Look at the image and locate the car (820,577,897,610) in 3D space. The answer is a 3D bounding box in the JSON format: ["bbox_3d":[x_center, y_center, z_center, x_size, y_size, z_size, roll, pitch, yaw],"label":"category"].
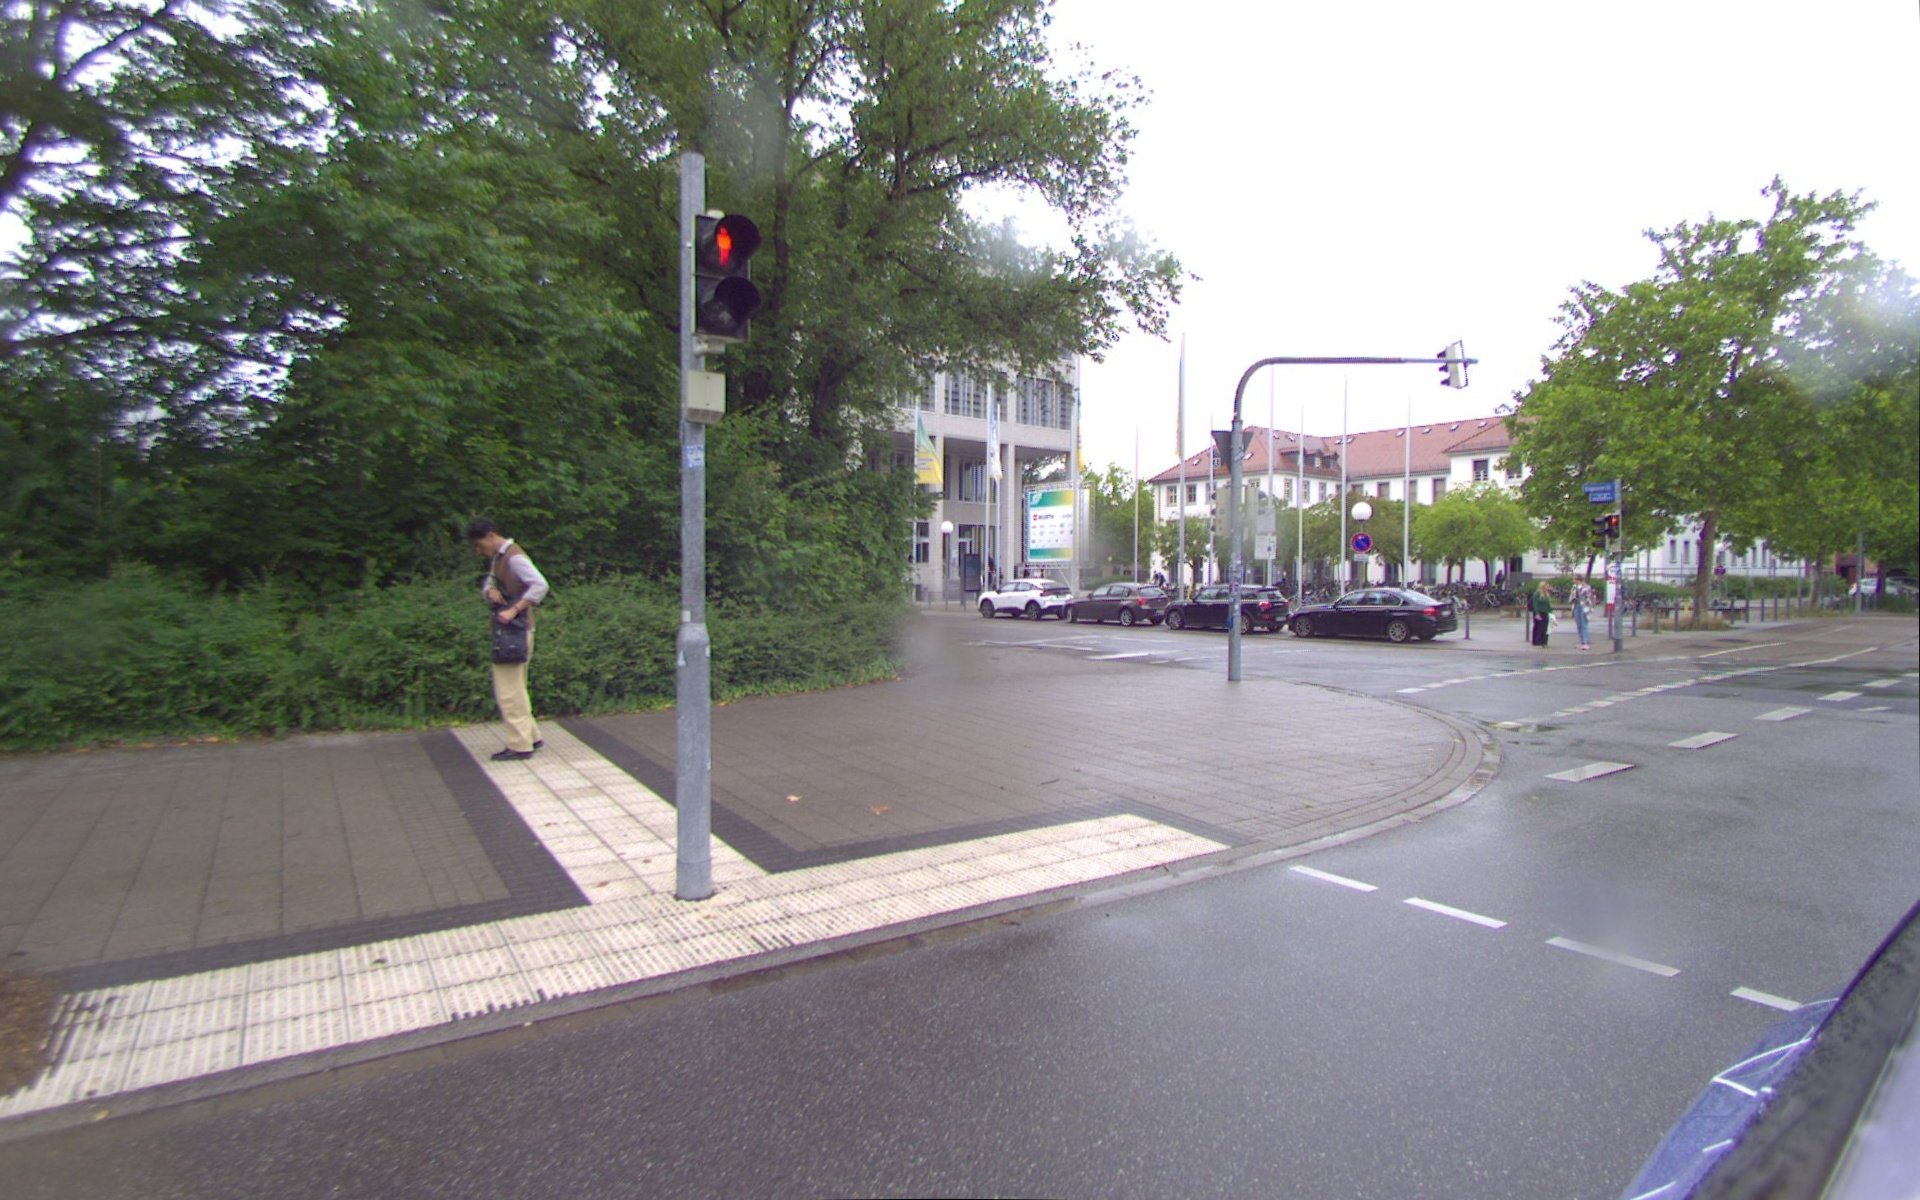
[{"bbox_3d":[-4.918,-0.349,48.460,1.742,1.419,4.097,-4,3,-38],"label":"car"}]

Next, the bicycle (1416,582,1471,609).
[{"bbox_3d":[22.758,-0.214,47.667,2.277,1.237,0.590,1,1,42],"label":"bicycle"}]

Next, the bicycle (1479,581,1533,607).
[{"bbox_3d":[26.793,-0.319,49.694,2.277,1.237,0.590,1,1,42],"label":"bicycle"}]

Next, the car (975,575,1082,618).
[{"bbox_3d":[2.592,-0.170,39.210,1.743,1.536,4.094,-4,3,-41],"label":"car"}]

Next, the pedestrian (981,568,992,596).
[{"bbox_3d":[1.498,-0.997,56.682,0.459,1.534,0.568,0,1,-16],"label":"pedestrian"}]

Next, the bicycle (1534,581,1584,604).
[{"bbox_3d":[32.595,-0.428,55.109,2.277,1.237,0.590,1,1,42],"label":"bicycle"}]

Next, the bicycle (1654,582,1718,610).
[{"bbox_3d":[32.498,-0.204,45.336,2.277,1.237,0.590,1,1,42],"label":"bicycle"}]

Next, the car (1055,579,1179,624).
[{"bbox_3d":[5.453,0.007,35.570,1.742,1.415,4.233,-4,3,-39],"label":"car"}]

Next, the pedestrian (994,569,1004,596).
[{"bbox_3d":[2.239,-1.025,58.148,0.459,1.534,0.568,0,1,-16],"label":"pedestrian"}]

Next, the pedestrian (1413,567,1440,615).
[{"bbox_3d":[17.198,-0.341,37.293,0.839,1.760,1.115,0,1,22],"label":"pedestrian"}]

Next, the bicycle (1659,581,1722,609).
[{"bbox_3d":[33.530,-0.227,46.476,2.277,1.237,0.590,1,1,42],"label":"bicycle"}]

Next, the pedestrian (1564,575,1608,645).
[{"bbox_3d":[14.919,0.214,24.135,0.871,1.627,0.854,1,1,32],"label":"pedestrian"}]

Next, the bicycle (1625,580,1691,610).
[{"bbox_3d":[29.932,-0.219,43.403,2.277,1.237,0.590,1,1,42],"label":"bicycle"}]

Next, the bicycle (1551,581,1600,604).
[{"bbox_3d":[34.024,-0.444,55.963,2.277,1.237,0.590,1,1,42],"label":"bicycle"}]

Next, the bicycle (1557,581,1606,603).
[{"bbox_3d":[34.758,-0.458,56.633,2.277,1.237,0.590,1,1,42],"label":"bicycle"}]

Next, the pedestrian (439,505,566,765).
[{"bbox_3d":[-3.547,0.244,7.831,0.833,1.882,0.733,0,1,-29],"label":"pedestrian"}]

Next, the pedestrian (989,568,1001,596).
[{"bbox_3d":[1.906,-0.969,55.499,0.532,1.534,0.568,0,1,-16],"label":"pedestrian"}]

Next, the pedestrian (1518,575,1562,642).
[{"bbox_3d":[14.301,0.188,24.960,0.872,1.627,0.853,1,1,35],"label":"pedestrian"}]

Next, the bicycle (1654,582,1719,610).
[{"bbox_3d":[32.092,-0.191,44.750,2.277,1.237,0.590,1,1,42],"label":"bicycle"}]

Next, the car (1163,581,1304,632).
[{"bbox_3d":[8.464,0.154,31.588,1.741,1.395,4.015,-4,3,-37],"label":"car"}]

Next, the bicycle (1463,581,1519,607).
[{"bbox_3d":[25.393,-0.294,48.425,2.277,1.237,0.590,1,1,42],"label":"bicycle"}]

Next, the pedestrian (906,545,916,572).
[{"bbox_3d":[-2.822,-2.408,58.415,0.556,1.534,0.543,0,1,3],"label":"pedestrian"}]

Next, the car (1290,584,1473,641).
[{"bbox_3d":[11.530,0.271,27.936,1.742,1.353,4.386,-4,3,-39],"label":"car"}]

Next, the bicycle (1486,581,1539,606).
[{"bbox_3d":[27.397,-0.329,50.209,2.277,1.237,0.590,1,1,42],"label":"bicycle"}]

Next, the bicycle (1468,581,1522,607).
[{"bbox_3d":[26.010,-0.311,49.233,2.277,1.237,0.590,1,1,42],"label":"bicycle"}]

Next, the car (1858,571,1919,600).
[{"bbox_3d":[61.507,-0.960,65.866,1.611,1.896,4.417,-1,1,-43],"label":"car"}]

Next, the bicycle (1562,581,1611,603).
[{"bbox_3d":[35.506,-0.473,57.393,2.277,1.237,0.590,1,1,42],"label":"bicycle"}]

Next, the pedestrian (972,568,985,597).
[{"bbox_3d":[1.004,-0.961,55.041,0.532,1.534,0.568,0,1,-16],"label":"pedestrian"}]

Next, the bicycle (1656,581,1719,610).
[{"bbox_3d":[33.024,-0.216,45.949,2.277,1.237,0.590,1,1,42],"label":"bicycle"}]

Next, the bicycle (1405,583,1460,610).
[{"bbox_3d":[22.083,-0.185,47.331,2.277,1.237,0.590,1,1,42],"label":"bicycle"}]
